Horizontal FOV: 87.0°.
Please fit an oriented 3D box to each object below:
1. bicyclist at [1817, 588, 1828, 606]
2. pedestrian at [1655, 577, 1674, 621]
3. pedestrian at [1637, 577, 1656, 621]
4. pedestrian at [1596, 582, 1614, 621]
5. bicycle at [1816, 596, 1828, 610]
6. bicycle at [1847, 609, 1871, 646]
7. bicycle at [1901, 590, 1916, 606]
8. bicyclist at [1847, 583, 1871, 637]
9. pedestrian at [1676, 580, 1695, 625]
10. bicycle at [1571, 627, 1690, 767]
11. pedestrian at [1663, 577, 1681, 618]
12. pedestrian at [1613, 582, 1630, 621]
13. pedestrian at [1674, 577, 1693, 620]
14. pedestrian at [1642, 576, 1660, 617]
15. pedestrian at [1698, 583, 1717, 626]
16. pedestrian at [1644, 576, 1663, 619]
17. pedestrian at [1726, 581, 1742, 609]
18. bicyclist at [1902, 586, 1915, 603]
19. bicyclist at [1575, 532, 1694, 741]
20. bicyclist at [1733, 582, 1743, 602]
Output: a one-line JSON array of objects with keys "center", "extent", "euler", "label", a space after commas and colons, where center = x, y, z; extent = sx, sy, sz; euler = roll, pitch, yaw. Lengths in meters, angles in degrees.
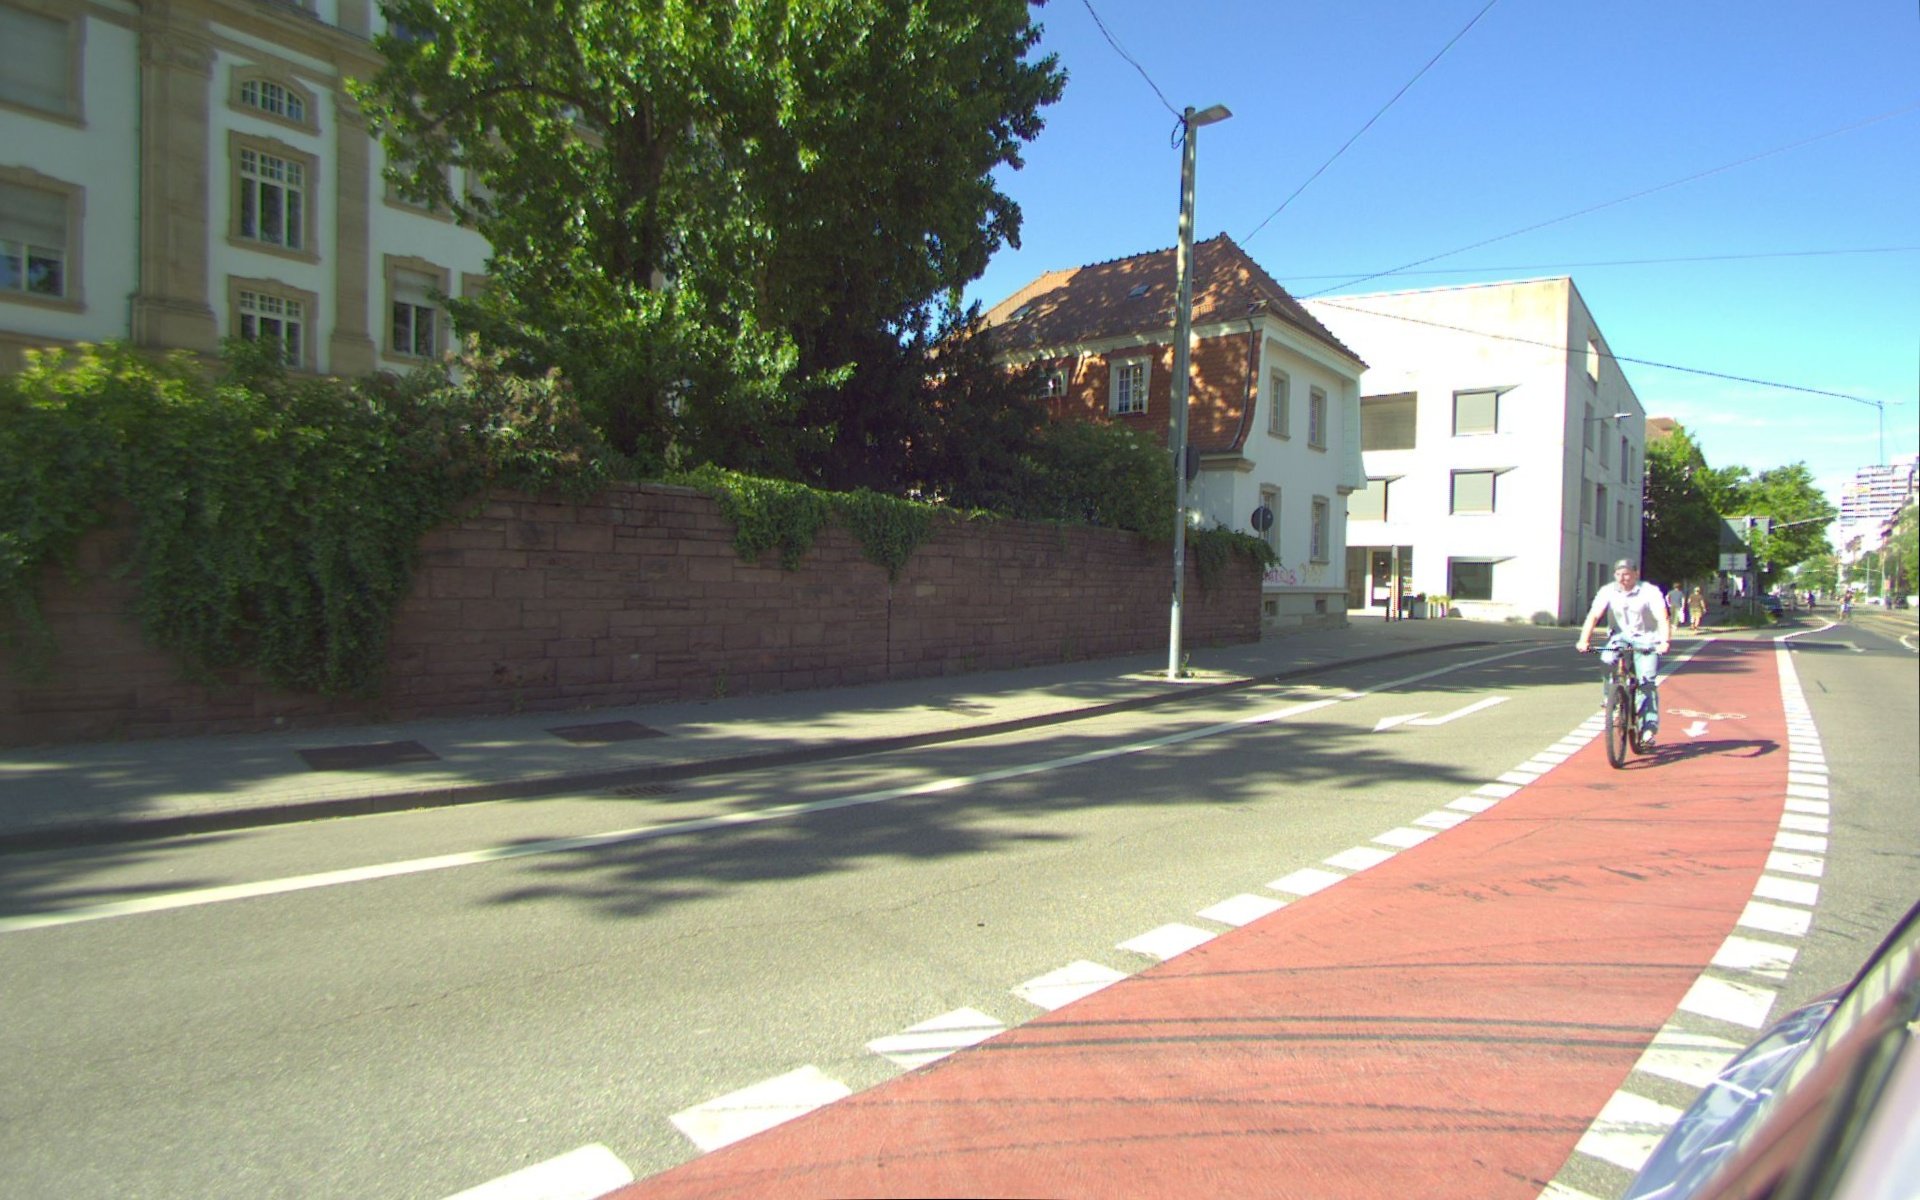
[{"center": [70.788, -0.240, 83.062], "extent": [0.663, 1.480, 0.612], "euler": [0, 1, 44], "label": "bicyclist"}, {"center": [29.683, -0.067, 42.624], "extent": [0.585, 1.828, 0.538], "euler": [2, 1, 39], "label": "pedestrian"}, {"center": [29.239, -0.051, 43.124], "extent": [0.585, 1.828, 0.538], "euler": [2, 1, 39], "label": "pedestrian"}, {"center": [26.917, 0.051, 42.217], "extent": [0.532, 1.586, 0.513], "euler": [2, 1, 39], "label": "pedestrian"}, {"center": [70.784, 0.244, 83.055], "extent": [0.663, 1.166, 1.646], "euler": [0, 1, 44], "label": "bicycle"}, {"center": [51.559, 1.559, 58.065], "extent": [1.000, 1.910, 3.836], "euler": [0, 1, 41], "label": "bicycle"}, {"center": [101.181, -0.232, 107.969], "extent": [0.999, 1.703, 2.942], "euler": [0, 1, 40], "label": "bicycle"}, {"center": [51.605, 0.554, 58.109], "extent": [1.000, 3.012, 1.452], "euler": [0, 1, 42], "label": "bicyclist"}, {"center": [30.111, 0.101, 42.004], "extent": [0.585, 1.828, 0.513], "euler": [2, 1, 39], "label": "pedestrian"}, {"center": [6.156, 0.828, 9.251], "extent": [0.611, 1.090, 1.801], "euler": [1, 1, 43], "label": "bicycle"}, {"center": [32.183, -0.119, 45.763], "extent": [0.585, 1.828, 0.538], "euler": [2, 1, 39], "label": "pedestrian"}, {"center": [27.354, 0.055, 41.854], "extent": [0.532, 1.586, 0.513], "euler": [2, 1, 39], "label": "pedestrian"}, {"center": [31.443, -0.076, 43.974], "extent": [0.585, 1.828, 0.574], "euler": [2, 1, 39], "label": "pedestrian"}, {"center": [31.591, -0.154, 46.249], "extent": [0.585, 1.828, 0.538], "euler": [2, 1, 39], "label": "pedestrian"}, {"center": [30.864, 0.185, 41.780], "extent": [0.585, 1.749, 0.513], "euler": [2, 1, 39], "label": "pedestrian"}, {"center": [30.400, -0.116, 44.366], "extent": [0.585, 1.828, 0.574], "euler": [2, 1, 39], "label": "pedestrian"}, {"center": [48.998, -0.342, 64.050], "extent": [0.676, 1.760, 0.917], "euler": [2, 1, 42], "label": "pedestrian"}, {"center": [101.172, -0.601, 107.964], "extent": [0.999, 1.743, 0.970], "euler": [0, 1, 40], "label": "bicyclist"}, {"center": [6.202, 0.303, 9.296], "extent": [0.749, 1.798, 0.998], "euler": [1, 1, 43], "label": "bicyclist"}, {"center": [85.982, -0.902, 111.846], "extent": [0.810, 2.234, 0.970], "euler": [0, 1, 42], "label": "bicyclist"}]
